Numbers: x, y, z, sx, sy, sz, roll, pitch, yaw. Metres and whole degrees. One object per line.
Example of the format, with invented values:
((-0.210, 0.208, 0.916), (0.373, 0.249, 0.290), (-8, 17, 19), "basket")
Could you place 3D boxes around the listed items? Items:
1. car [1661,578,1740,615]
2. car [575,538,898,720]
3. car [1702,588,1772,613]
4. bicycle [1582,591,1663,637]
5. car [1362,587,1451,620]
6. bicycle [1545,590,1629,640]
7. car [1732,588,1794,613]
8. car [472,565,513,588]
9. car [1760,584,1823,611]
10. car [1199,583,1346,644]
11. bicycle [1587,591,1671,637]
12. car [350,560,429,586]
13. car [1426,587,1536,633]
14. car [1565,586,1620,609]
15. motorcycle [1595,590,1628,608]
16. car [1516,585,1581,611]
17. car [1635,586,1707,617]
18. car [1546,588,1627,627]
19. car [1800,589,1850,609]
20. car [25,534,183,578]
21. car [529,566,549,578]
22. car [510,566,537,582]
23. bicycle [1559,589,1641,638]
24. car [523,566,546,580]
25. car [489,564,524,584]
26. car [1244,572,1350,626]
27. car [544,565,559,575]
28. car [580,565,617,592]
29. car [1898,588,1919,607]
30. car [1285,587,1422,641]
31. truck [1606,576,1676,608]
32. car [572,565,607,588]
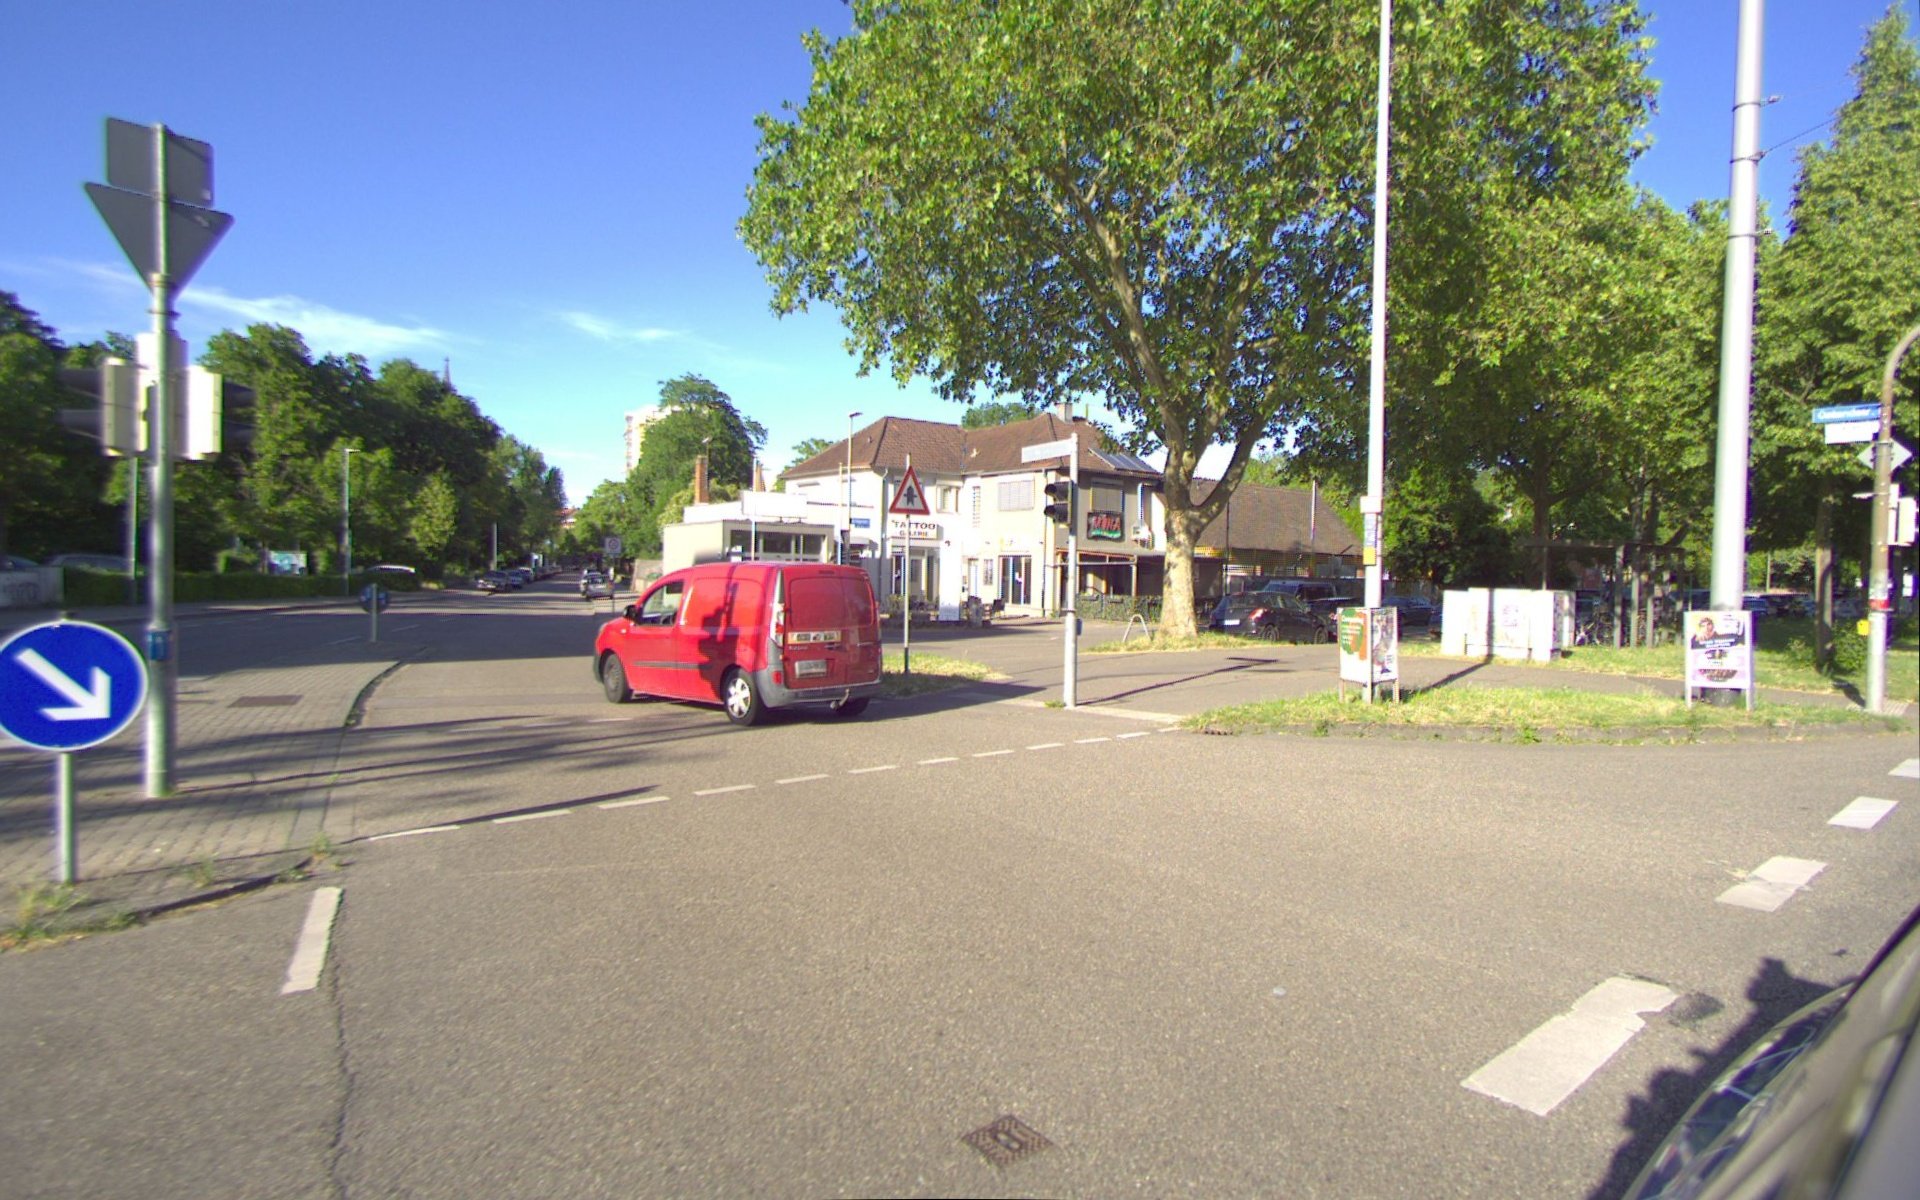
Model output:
((37.368, -0.185, 51.028), (4.931, 1.763, 2.037), (0, 1, -39), "car")
((-2.827, 0.280, 12.301), (4.098, 1.837, 1.826), (0, 0, 42), "car")
((41.886, 0.021, 54.525), (4.570, 1.265, 1.998), (0, 1, -39), "car")
((17.521, 0.352, 26.795), (0.541, 1.183, 1.699), (0, 1, -41), "bicycle")
((21.570, 0.121, 48.843), (4.824, 1.504, 1.899), (0, 1, -38), "car")
((15.690, 0.351, 25.355), (0.540, 1.183, 1.702), (0, 1, -34), "bicycle")
((46.923, -0.020, 59.094), (4.781, 1.380, 1.997), (0, 1, -41), "car")
((-32.419, -1.675, 70.263), (1.958, 1.483, 4.483), (1, 2, -17), "car")
((51.179, -0.178, 62.264), (4.569, 1.616, 1.999), (0, 1, -37), "car")
((8.295, 0.312, 26.752), (3.966, 1.483, 1.897), (0, 1, -41), "car")
((18.207, 0.369, 27.577), (0.541, 1.183, 1.807), (0, 1, -39), "bicycle")
((-35.475, -1.679, 63.033), (3.934, 1.484, 2.004), (1, 0, -18), "car")
((18.461, 0.323, 35.766), (4.268, 1.507, 1.898), (0, 1, -39), "car")
((40.918, -0.192, 65.442), (4.098, 1.420, 1.795), (0, 1, -40), "car")
((43.295, -0.071, 67.248), (1.725, 1.163, 0.728), (1, 1, 27), "motorcycle")
((35.797, -0.148, 61.496), (4.572, 1.548, 1.998), (0, 1, -40), "car")
((33.565, 0.039, 47.758), (3.846, 1.397, 1.941), (0, 1, -42), "car")
((25.927, 0.274, 41.854), (3.982, 1.504, 1.896), (0, 1, -43), "car")
((59.338, -0.077, 69.380), (4.467, 1.332, 1.997), (0, 1, -41), "car")
((-31.029, -1.570, 36.807), (3.917, 1.484, 2.004), (1, 0, -11), "car")
((-54.286, -3.551, 130.612), (1.958, 1.484, 4.009), (1, 0, -16), "car")
((-43.409, -2.607, 100.652), (1.958, 1.484, 4.009), (1, 0, -16), "car")
((16.515, 0.330, 26.134), (0.541, 1.183, 1.699), (0, 1, -40), "bicycle")
((-48.614, -3.091, 115.728), (1.958, 1.484, 4.009), (1, 0, -16), "car")
((-35.507, -2.042, 79.348), (1.958, 1.483, 4.483), (1, 2, -17), "car")
((14.221, -0.080, 42.542), (4.982, 2.061, 1.898), (0, 3, -41), "car")
((-66.741, -4.890, 165.369), (1.958, 1.484, 4.009), (1, 0, -16), "car")
((-21.420, -1.277, 59.844), (1.958, 1.483, 4.009), (1, 2, -21), "car")
((81.603, -0.210, 86.339), (3.932, 1.605, 1.996), (0, 1, -42), "car")
((11.584, 0.360, 29.675), (4.269, 1.429, 1.898), (0, 1, -40), "car")
((48.017, -0.576, 71.331), (6.464, 2.101, 2.454), (0, 1, -40), "truck")
((-25.748, -1.618, 70.431), (1.958, 1.484, 4.009), (1, 0, -16), "car")
